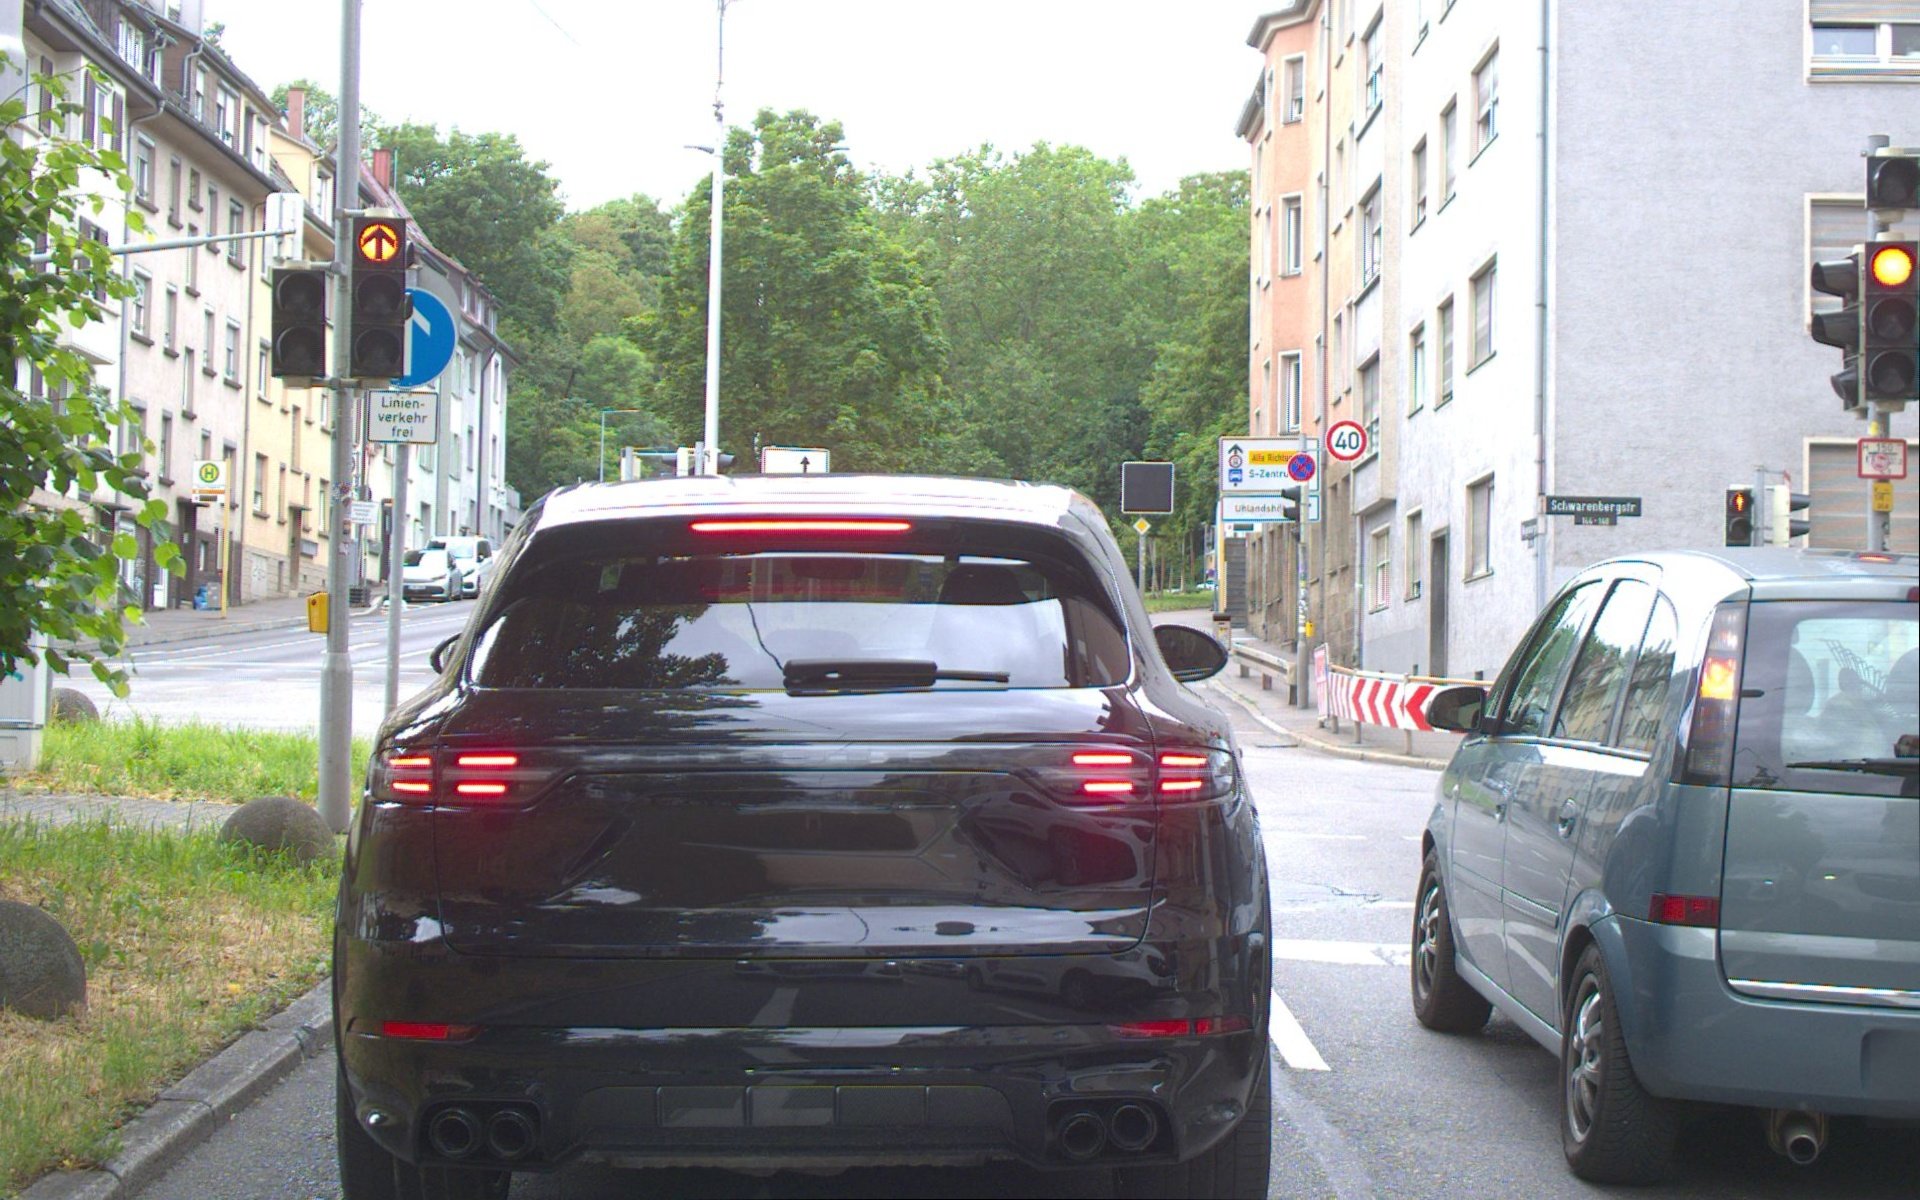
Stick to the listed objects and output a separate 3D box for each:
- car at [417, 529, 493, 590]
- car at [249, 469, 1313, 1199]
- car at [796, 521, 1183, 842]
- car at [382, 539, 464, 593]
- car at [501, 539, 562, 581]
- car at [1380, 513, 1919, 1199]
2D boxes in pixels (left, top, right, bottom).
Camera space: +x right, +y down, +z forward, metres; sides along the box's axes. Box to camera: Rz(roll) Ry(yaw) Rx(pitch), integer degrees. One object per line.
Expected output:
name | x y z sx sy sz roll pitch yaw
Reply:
car | -15.442 -1.260 105.241 1.794 1.804 4.000 1 1 -1
car | -0.307 0.537 8.462 1.994 1.647 4.000 0 1 1
car | 0.184 0.413 19.815 1.994 1.647 4.000 0 0 1
car | -15.626 -1.009 100.219 1.794 1.505 4.000 1 1 -1
car | -15.769 -1.488 126.626 1.794 1.505 4.000 1 1 -1
car | 2.357 0.639 9.572 1.752 1.588 3.631 4 0 -1
